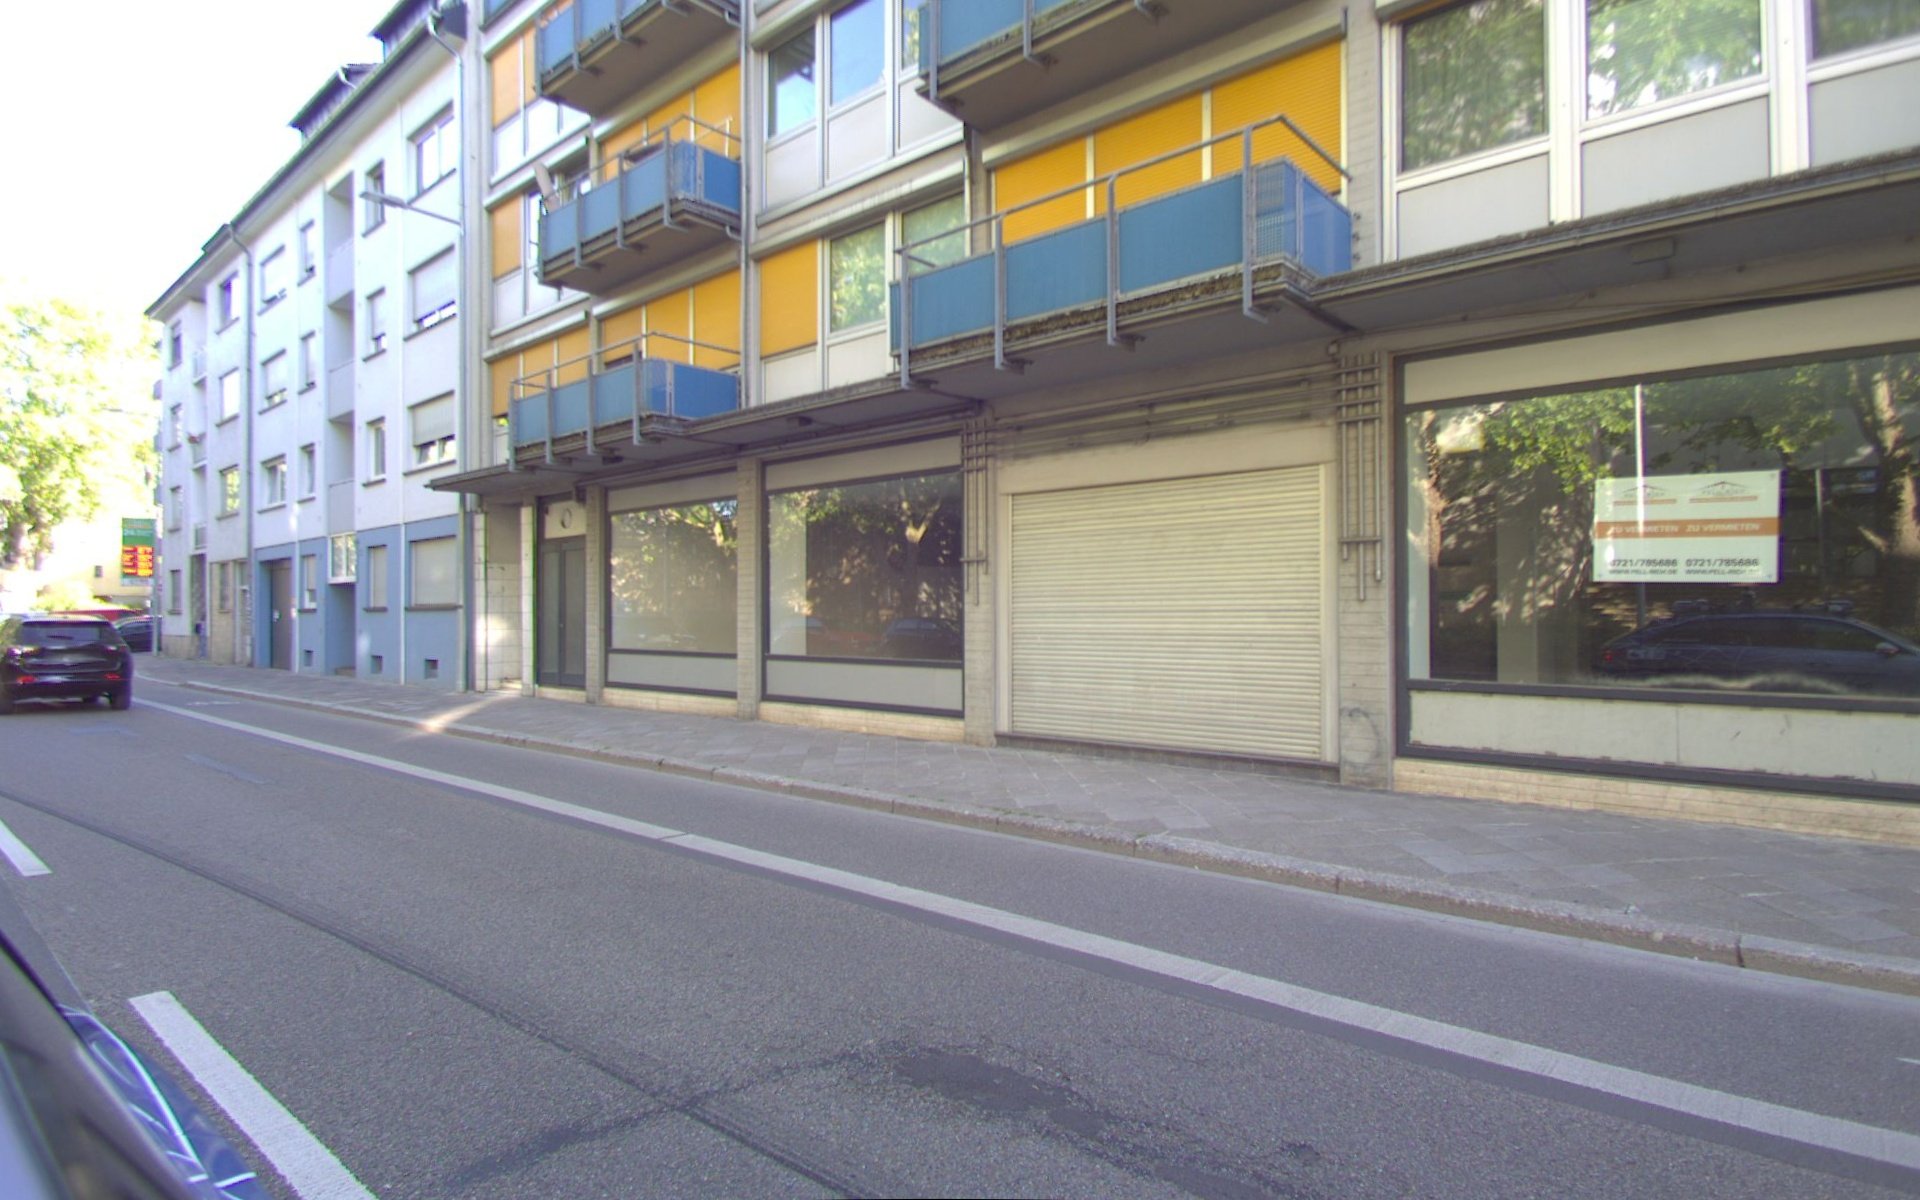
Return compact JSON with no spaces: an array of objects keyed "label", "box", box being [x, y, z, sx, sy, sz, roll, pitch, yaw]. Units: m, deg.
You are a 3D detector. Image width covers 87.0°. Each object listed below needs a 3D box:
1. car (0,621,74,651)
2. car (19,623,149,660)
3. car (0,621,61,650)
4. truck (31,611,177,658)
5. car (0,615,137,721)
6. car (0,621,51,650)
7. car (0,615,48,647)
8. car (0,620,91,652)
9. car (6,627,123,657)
[{"label":"car","box":[-52.889,2.034,57.471,1.656,1.599,3.615,-1,0,35]},{"label":"car","box":[-37.348,1.723,43.216,1.780,1.404,3.947,-1,0,39]},{"label":"car","box":[-55.073,2.079,59.000,1.715,1.594,3.660,-1,0,35]},{"label":"truck","box":[-40.356,1.581,47.835,1.998,2.036,5.024,-1,0,40]},{"label":"car","box":[-15.948,1.081,17.611,4.383,1.582,1.830,-1,0,41]},{"label":"car","box":[-56.894,2.119,60.392,1.740,1.600,3.685,-1,0,35]},{"label":"car","box":[-59.727,1.964,63.797,1.693,1.953,3.224,-1,0,43]},{"label":"car","box":[-50.829,1.966,55.967,1.699,1.640,3.952,-1,0,35]},{"label":"car","box":[-43.103,1.991,48.777,1.904,1.282,3.983,-1,0,39]}]
